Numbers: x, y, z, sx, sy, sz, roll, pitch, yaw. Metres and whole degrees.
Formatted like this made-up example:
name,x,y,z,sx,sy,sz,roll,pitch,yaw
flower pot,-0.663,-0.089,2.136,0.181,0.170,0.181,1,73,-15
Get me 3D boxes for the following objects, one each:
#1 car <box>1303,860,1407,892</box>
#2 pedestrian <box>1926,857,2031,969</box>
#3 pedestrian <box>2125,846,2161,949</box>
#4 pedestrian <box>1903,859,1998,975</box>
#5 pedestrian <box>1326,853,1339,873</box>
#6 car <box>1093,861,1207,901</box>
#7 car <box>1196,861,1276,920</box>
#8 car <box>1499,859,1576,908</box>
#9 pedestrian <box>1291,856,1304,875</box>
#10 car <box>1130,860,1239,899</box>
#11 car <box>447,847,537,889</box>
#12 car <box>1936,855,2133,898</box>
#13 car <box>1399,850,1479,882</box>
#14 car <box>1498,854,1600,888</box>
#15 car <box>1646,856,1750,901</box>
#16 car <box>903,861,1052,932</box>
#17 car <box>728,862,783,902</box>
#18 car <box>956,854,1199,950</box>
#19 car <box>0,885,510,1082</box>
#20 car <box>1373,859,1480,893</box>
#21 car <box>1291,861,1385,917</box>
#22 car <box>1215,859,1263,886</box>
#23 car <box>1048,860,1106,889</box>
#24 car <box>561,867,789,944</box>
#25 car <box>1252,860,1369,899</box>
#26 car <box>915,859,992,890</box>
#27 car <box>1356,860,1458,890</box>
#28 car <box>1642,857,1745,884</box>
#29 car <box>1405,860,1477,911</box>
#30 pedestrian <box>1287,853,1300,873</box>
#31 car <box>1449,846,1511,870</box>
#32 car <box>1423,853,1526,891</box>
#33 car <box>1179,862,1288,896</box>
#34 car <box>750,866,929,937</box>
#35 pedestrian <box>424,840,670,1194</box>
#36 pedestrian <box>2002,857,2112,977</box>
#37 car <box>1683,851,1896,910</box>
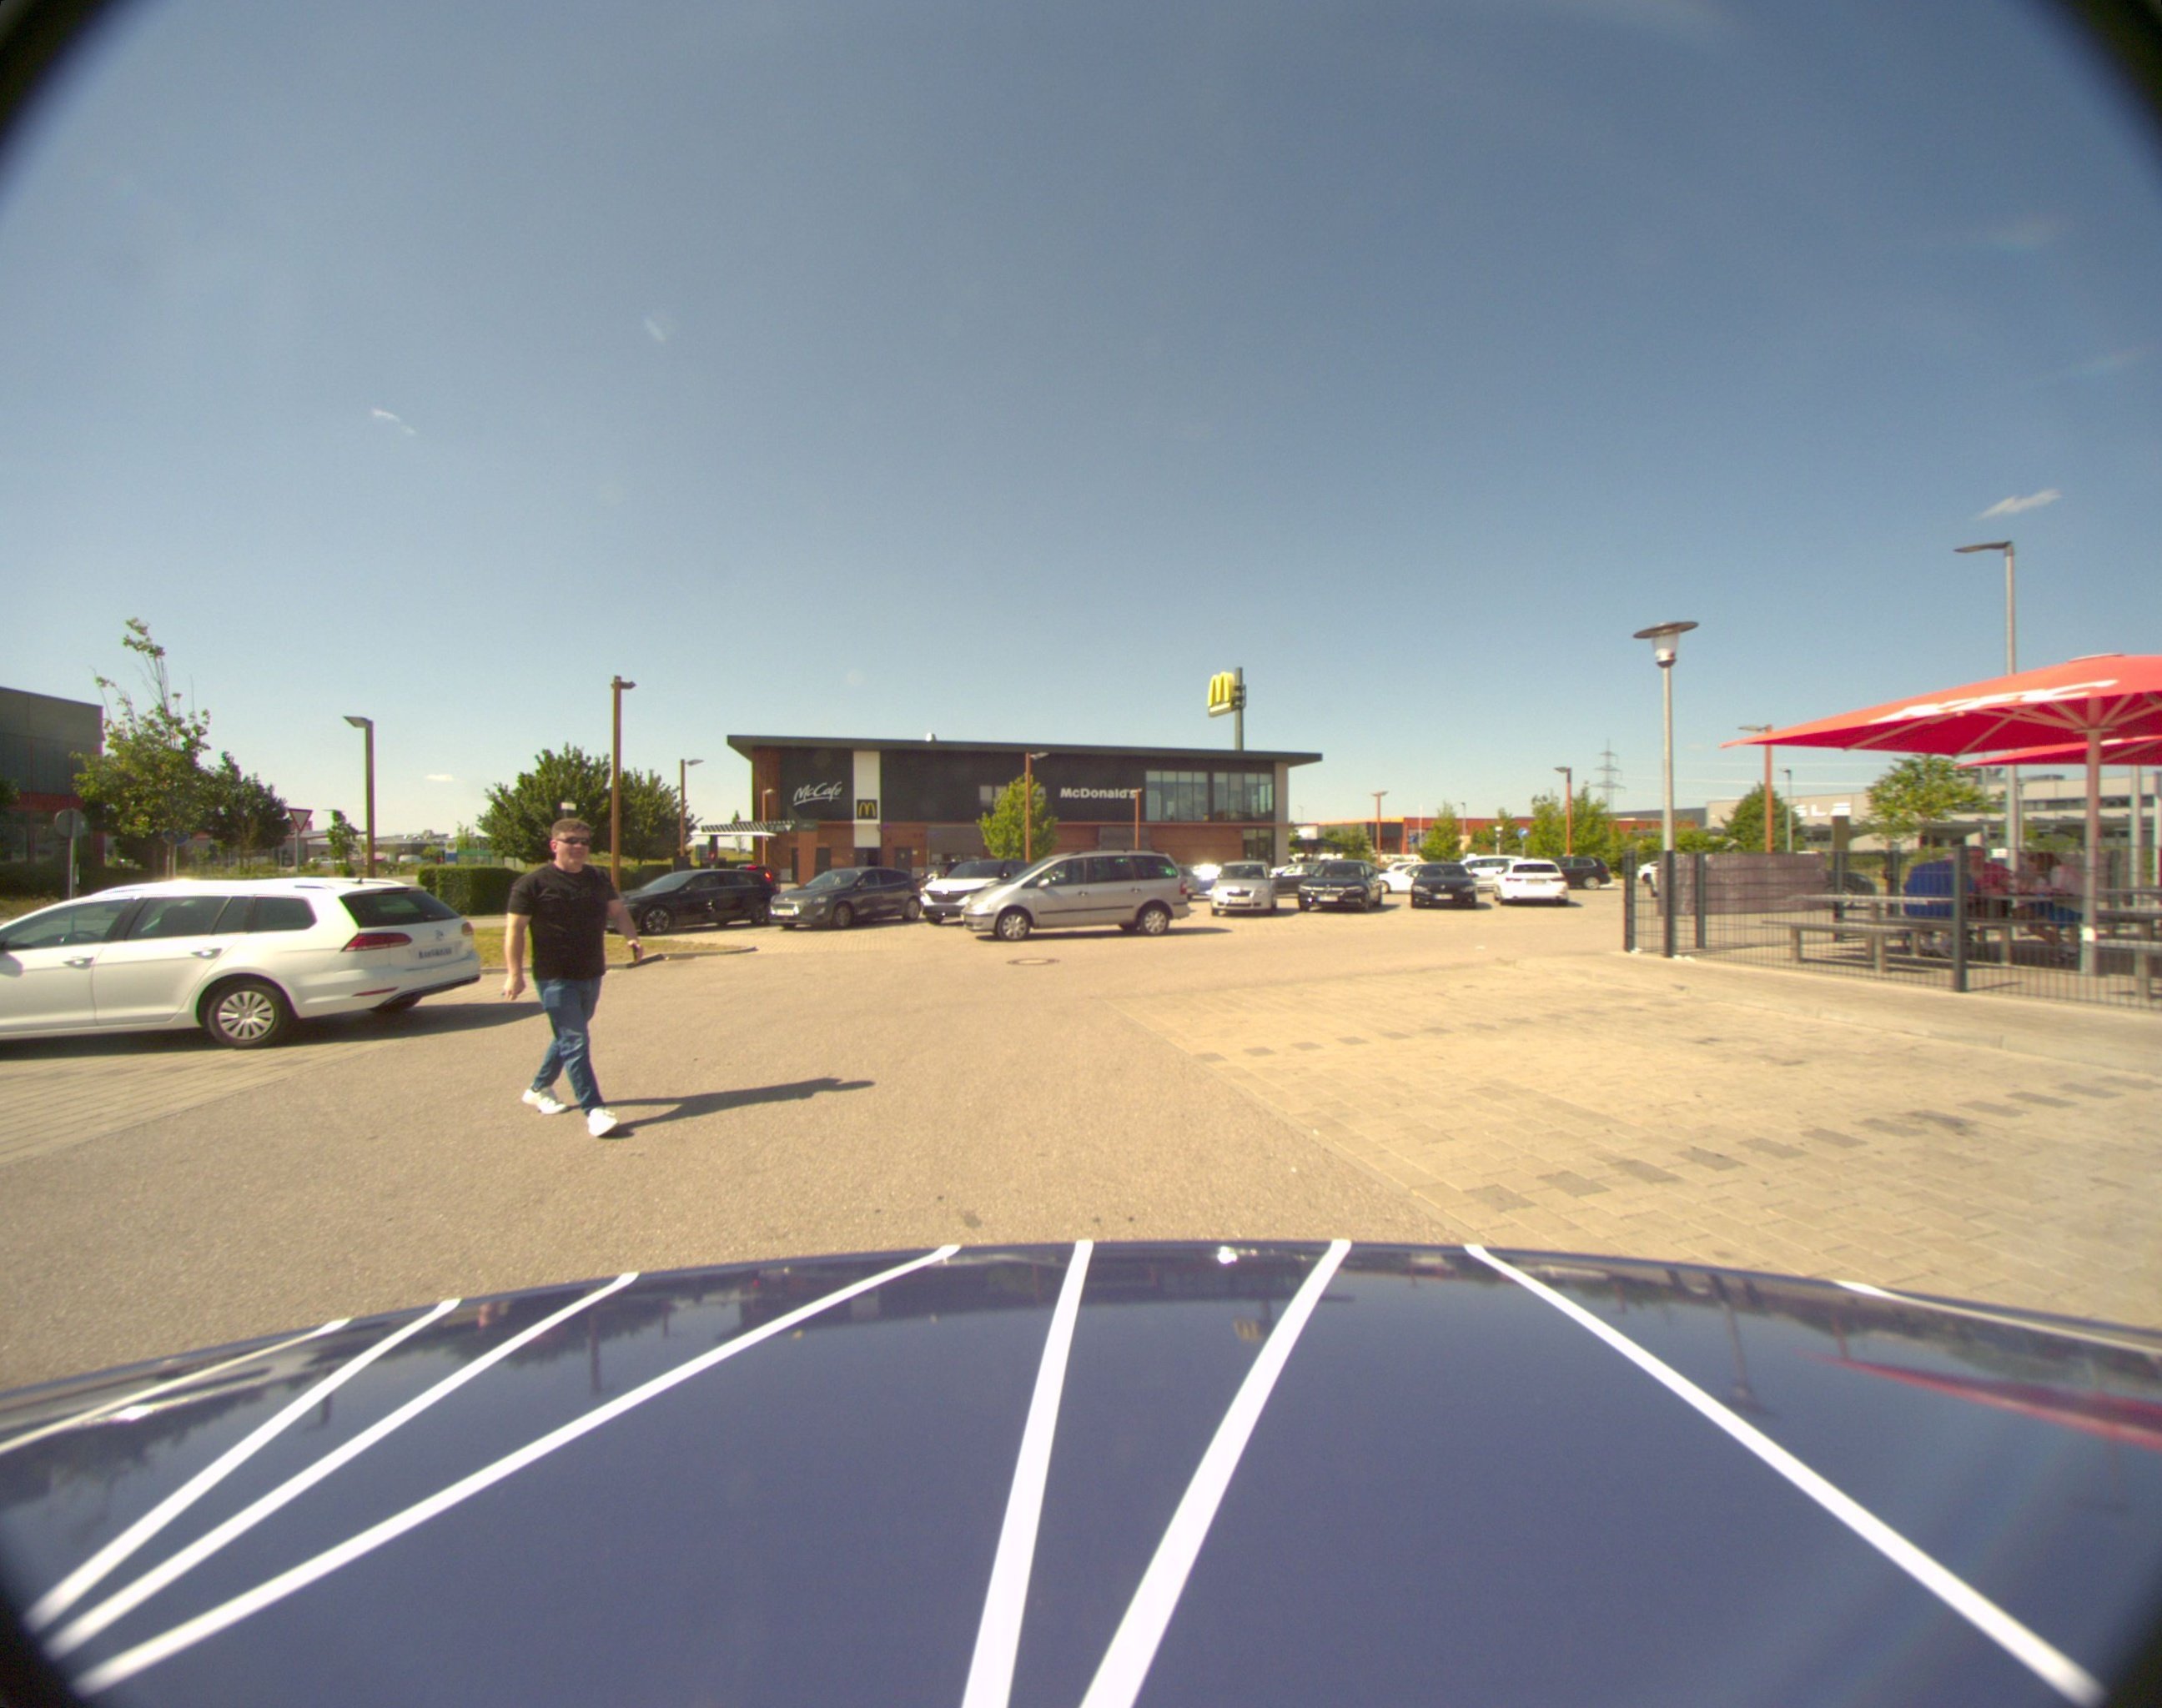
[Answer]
name,x,y,z,sx,sy,sz,roll,pitch,yaw
car,13.714,1.100,38.112,4.632,1.478,1.899,-1,0,31
pedestrian,10.817,0.677,9.162,0.843,1.266,0.684,0,0,-31
pedestrian,14.992,0.584,10.302,0.807,1.379,0.665,-1,0,-6
pedestrian,10.011,0.697,8.751,0.625,1.266,0.612,0,0,-31
pedestrian,19.899,0.734,60.110,0.702,1.550,0.721,-1,0,-14
car,2.705,1.037,30.008,4.103,1.484,1.715,-1,0,31
car,4.527,0.966,21.732,1.972,1.517,4.212,-1,-1,15
car,14.630,0.883,24.570,1.832,1.451,4.593,-1,-1,27
pedestrian,17.990,0.926,63.108,0.724,1.550,0.700,0,0,-44
car,4.304,1.024,31.700,4.103,1.506,1.817,-1,0,31
car,-32.434,0.765,42.035,2.001,2.184,5.100,-1,-1,-14
car,37.940,0.836,30.440,1.844,1.583,4.569,0,0,-18
car,20.874,0.694,44.318,3.947,1.764,1.657,-1,-1,36
car,22.031,0.805,35.986,3.989,1.543,1.758,-1,0,28
car,21.292,0.800,26.422,1.970,1.451,4.215,-1,-1,27
car,-2.561,1.019,19.885,1.971,1.644,4.214,-1,-1,23
car,-14.710,1.208,34.522,1.999,1.681,4.229,0,0,-19
car,-0.112,0.895,15.643,4.686,1.738,1.830,-1,0,-16
car,-8.503,1.138,7.268,4.481,1.460,1.832,-2,0,-8
car,15.339,0.981,33.762,4.103,1.405,1.817,-1,0,31
car,7.792,0.969,22.719,1.970,1.478,4.792,-1,-1,27
car,9.705,1.089,46.508,1.712,1.603,4.044,-1,-1,29
car,-0.187,1.122,43.066,1.710,1.506,3.957,-2,0,25
car,-9.334,1.084,17.870,1.970,1.517,4.341,0,0,29
car,9.447,1.018,31.345,4.268,1.478,1.817,-1,0,31
car,-6.911,1.096,41.709,1.957,1.593,4.476,-1,-1,25
car,16.893,1.082,39.473,4.632,1.478,1.899,-1,0,31
car,34.825,0.898,43.333,1.843,1.470,4.327,0,0,-14
car,11.211,0.909,23.677,1.832,1.451,4.378,-1,-1,26
pedestrian,17.011,0.735,60.914,0.724,1.550,0.700,0,0,-44
car,27.450,0.276,52.389,1.764,1.552,3.880,-1,-1,-11
car,18.226,0.836,35.222,4.103,1.664,1.817,-1,0,31
car,7.179,1.143,35.907,4.632,1.478,1.899,-1,0,31
car,-5.819,1.072,18.882,1.971,1.517,4.214,-1,-1,22
pedestrian,-3.065,0.835,4.389,0.992,1.798,0.727,-1,1,27
pedestrian,10.871,0.672,8.472,0.552,1.266,0.684,-1,0,-31
car,20.539,0.712,22.308,4.291,1.581,1.861,0,0,32
